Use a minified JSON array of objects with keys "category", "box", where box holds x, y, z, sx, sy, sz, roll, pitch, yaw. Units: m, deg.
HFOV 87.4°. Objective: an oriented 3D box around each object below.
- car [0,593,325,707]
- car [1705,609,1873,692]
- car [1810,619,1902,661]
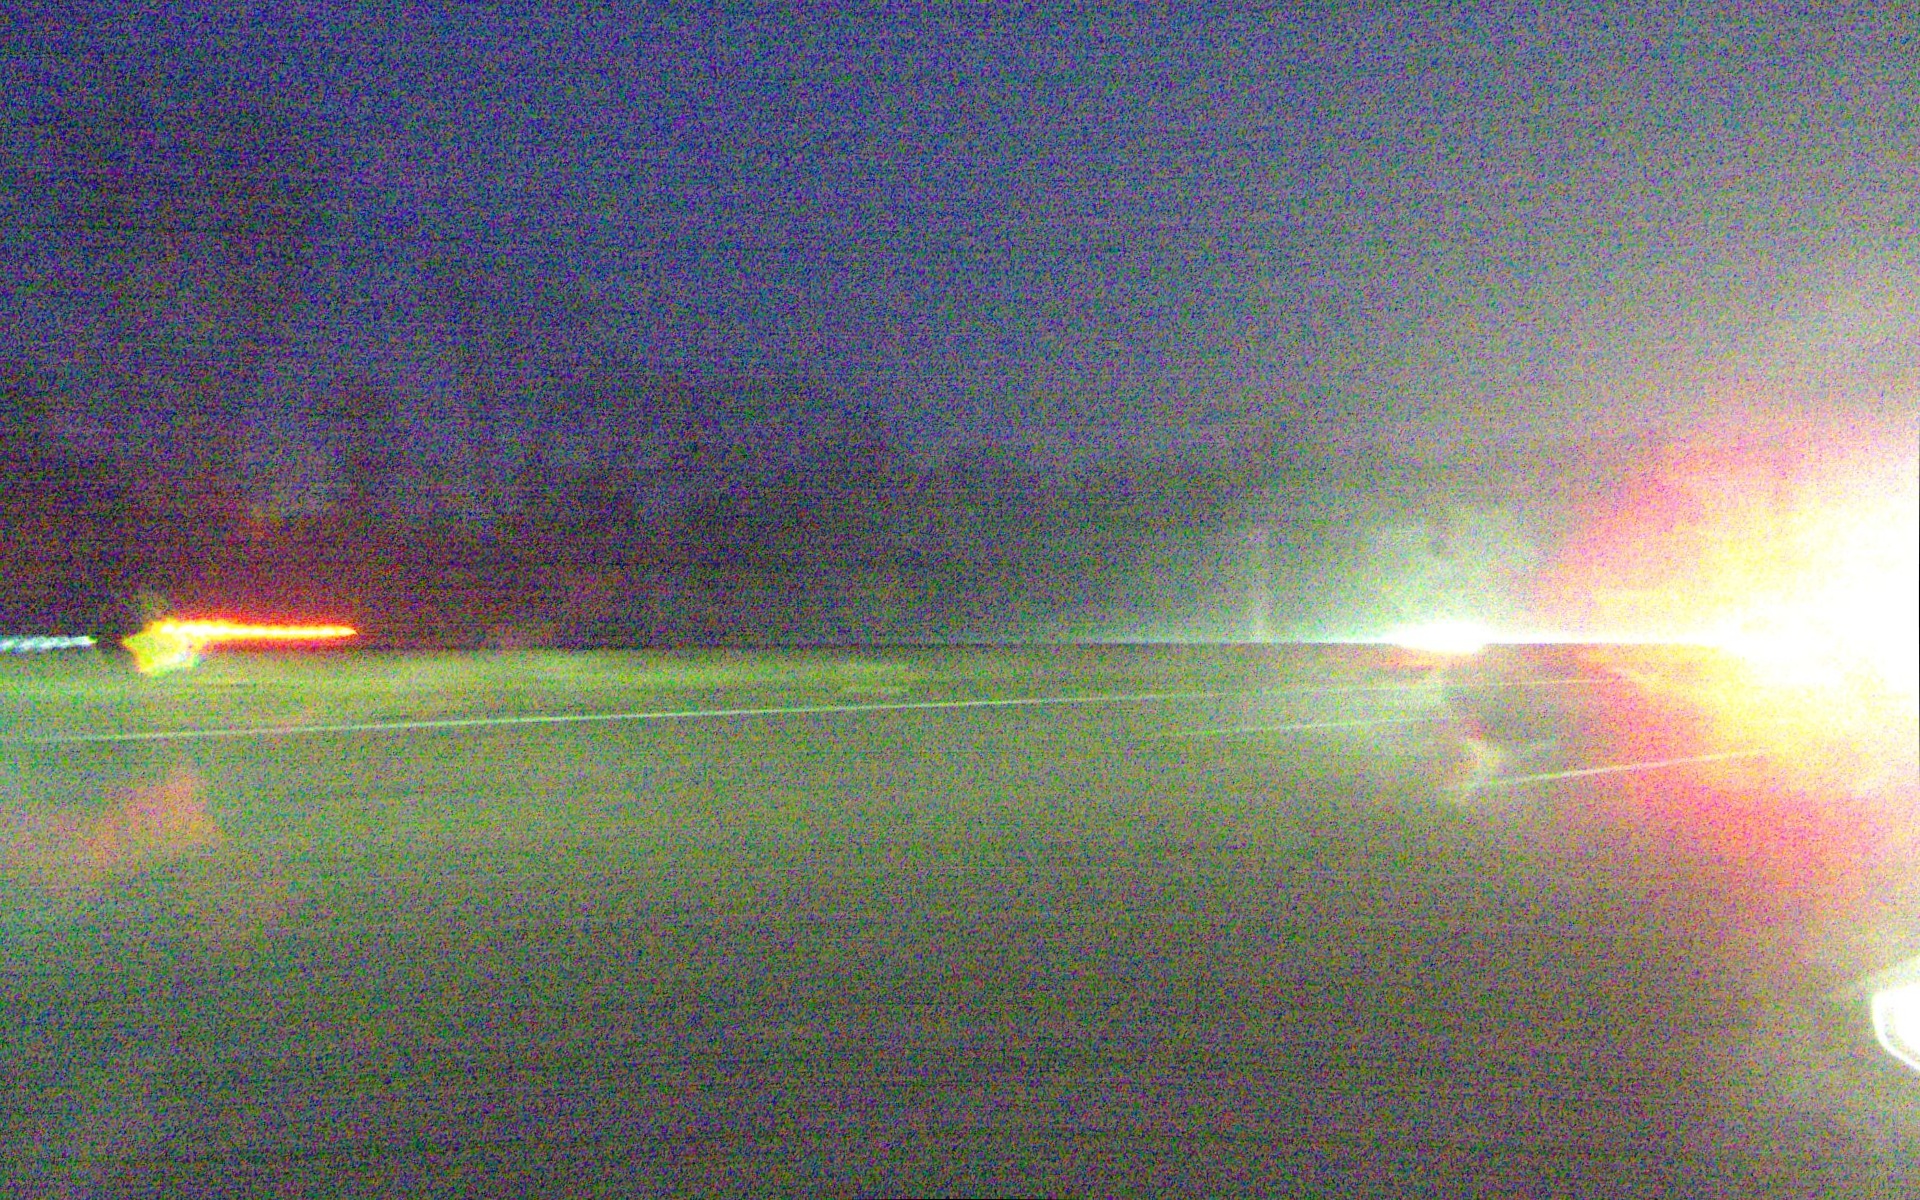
[{"category":"car","box":[-13.767,0.835,17.505,4.514,1.744,1.869,2,0,-33]},{"category":"car","box":[18.309,1.084,22.148,3.963,1.617,1.979,2,0,-37]},{"category":"car","box":[42.339,1.896,47.420,5.004,1.868,1.870,2,0,-32]}]
